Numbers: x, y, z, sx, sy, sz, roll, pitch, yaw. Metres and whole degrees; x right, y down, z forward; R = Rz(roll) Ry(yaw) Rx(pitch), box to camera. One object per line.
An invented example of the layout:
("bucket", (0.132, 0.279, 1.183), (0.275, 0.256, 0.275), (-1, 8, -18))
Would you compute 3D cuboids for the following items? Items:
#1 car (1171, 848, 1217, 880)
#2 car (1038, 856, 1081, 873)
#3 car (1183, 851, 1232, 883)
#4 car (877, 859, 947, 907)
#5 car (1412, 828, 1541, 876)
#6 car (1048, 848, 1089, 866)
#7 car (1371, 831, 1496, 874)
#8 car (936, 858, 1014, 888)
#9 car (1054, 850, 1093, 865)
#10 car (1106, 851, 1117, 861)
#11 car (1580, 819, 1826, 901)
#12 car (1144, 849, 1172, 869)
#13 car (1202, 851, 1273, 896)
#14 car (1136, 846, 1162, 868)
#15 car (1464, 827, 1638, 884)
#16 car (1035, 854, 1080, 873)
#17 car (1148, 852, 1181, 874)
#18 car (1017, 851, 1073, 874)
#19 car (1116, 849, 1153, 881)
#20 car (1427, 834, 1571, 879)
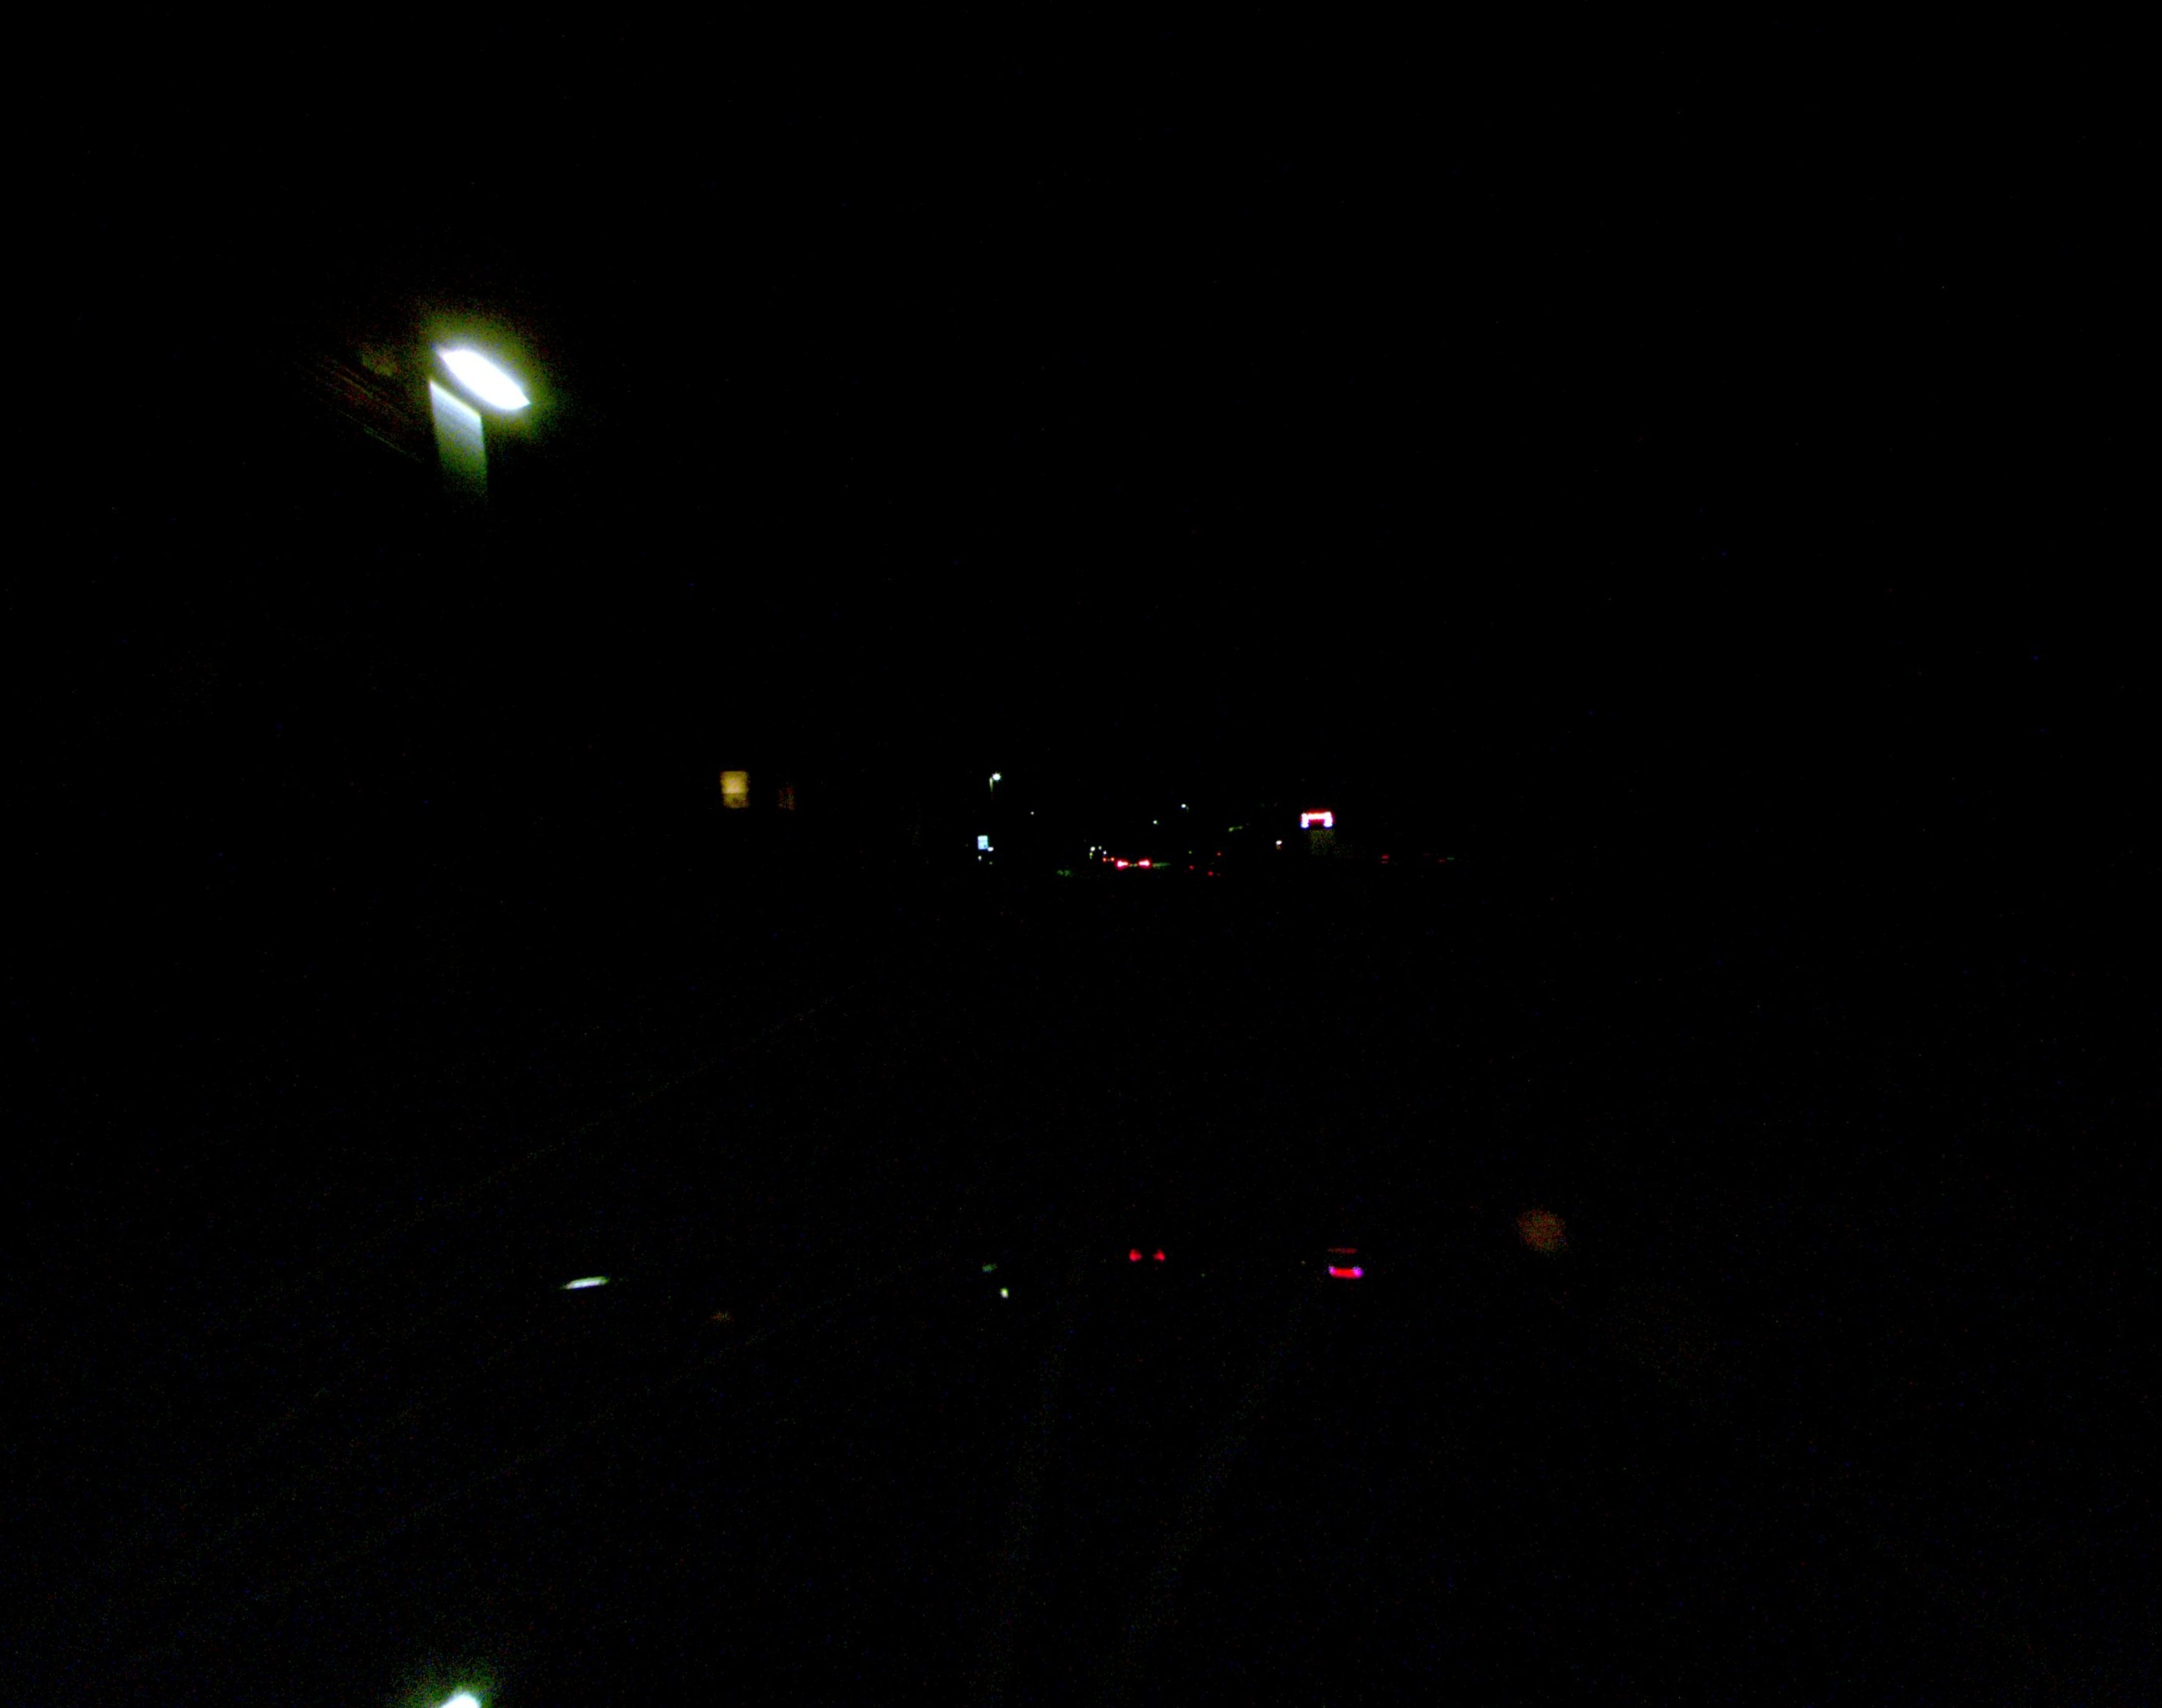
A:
("car", (6.455, 0.557, 43.950), (1.933, 1.627, 4.470), (-4, 0, 0))
("car", (-2.116, 0.985, 74.387), (3.924, 1.542, 1.988), (-2, 0, 6))
("car", (6.356, 0.629, 38.627), (1.775, 1.460, 3.966), (-4, 0, 0))
("car", (-6.101, 0.991, 27.821), (1.643, 1.551, 3.678), (-2, 0, 1))
("car", (15.394, -0.076, 29.754), (3.995, 1.608, 2.001), (-3, 0, 5))
("car", (-1.603, 0.356, 98.618), (5.156, 2.084, 2.260), (-2, 0, 1))
("car", (14.902, -0.070, 32.236), (4.325, 1.552, 2.028), (-3, 0, -6))
("car", (-5.692, 1.009, 41.244), (3.914, 1.477, 1.832), (-1, 0, 1))
("car", (-0.963, 0.488, 101.505), (5.156, 1.834, 2.260), (-2, 0, 1))
("car", (5.430, 0.329, 135.467), (1.724, 1.705, 3.960), (-3, 0, -1))
("car", (13.628, 0.125, 16.803), (3.999, 1.693, 1.947), (0, 0, -6))
("car", (7.069, 0.417, 70.182), (2.121, 1.660, 4.169), (-3, 0, 0))
("car", (5.726, 0.665, 28.227), (1.753, 1.460, 4.009), (-3, 0, 0))
("car", (6.850, 0.296, 76.923), (2.121, 1.935, 4.888), (-4, 0, 0))
("car", (14.447, 0.052, 23.547), (4.125, 1.652, 2.001), (-1, 0, 3))
("car", (-2.112, 0.852, 68.529), (3.926, 1.505, 1.854), (-2, 1, 1))
("car", (6.976, 0.713, 64.093), (2.121, 1.539, 4.475), (-6, 1, -1))
("car", (-2.960, 0.690, 63.146), (4.363, 1.805, 2.032), (-2, 0, 7))
("car", (3.177, 0.618, 46.102), (2.008, 1.738, 4.558), (-2, 0, 2))
("car", (14.770, 0.083, 27.032), (3.996, 1.455, 2.000), (-1, 0, 3))
